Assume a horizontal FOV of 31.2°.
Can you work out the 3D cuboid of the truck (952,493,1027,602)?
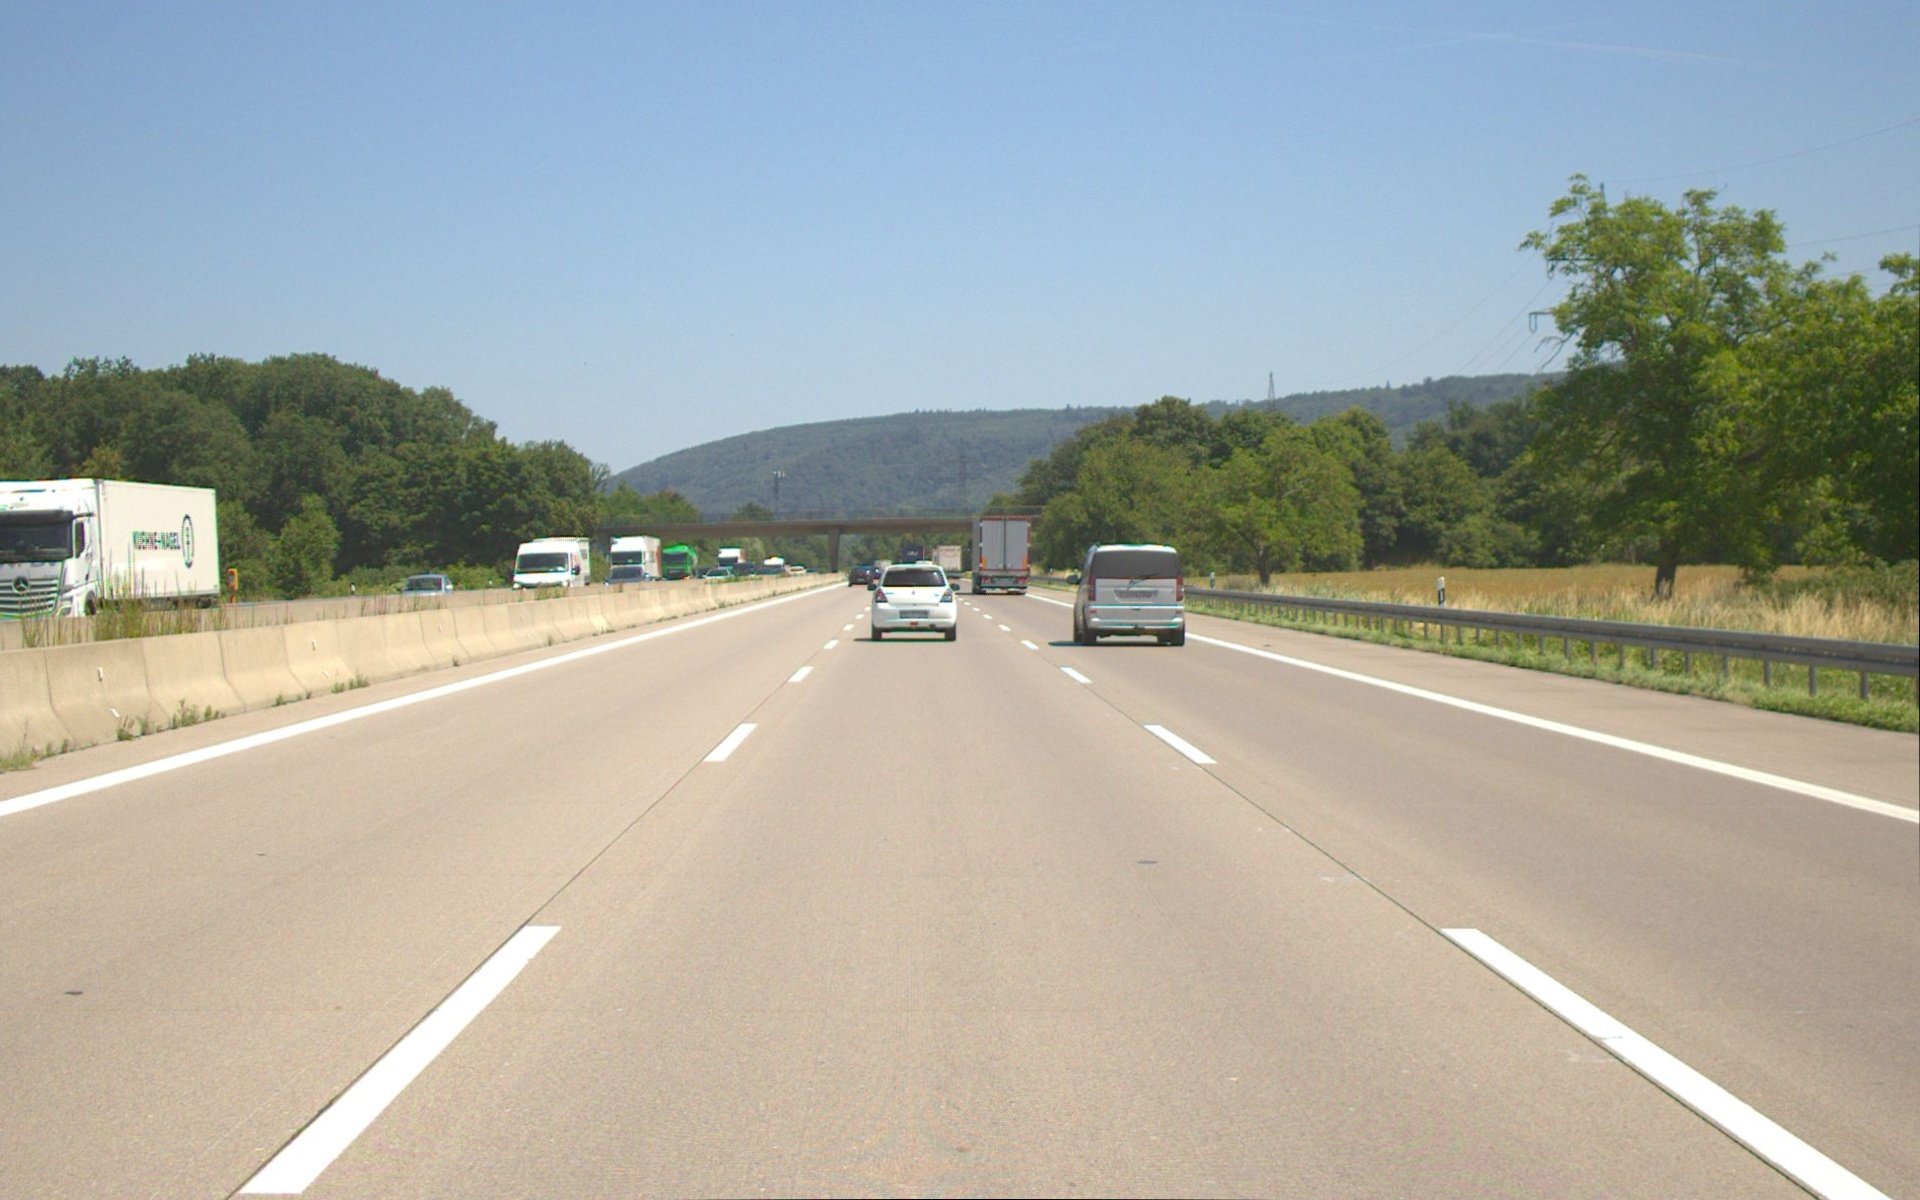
[{"bbox_3d":[1.563,-2.871,187.937,3.720,5.791,7.054,1,1,-2],"label":"truck"}]

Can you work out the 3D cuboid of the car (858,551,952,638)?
[{"bbox_3d":[-1.101,-0.134,68.555,1.819,1.656,4.000,0,1,-1],"label":"car"}]

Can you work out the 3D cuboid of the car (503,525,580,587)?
[{"bbox_3d":[-14.135,-1.494,116.409,2.068,2.007,5.981,1,1,-2],"label":"car"}]

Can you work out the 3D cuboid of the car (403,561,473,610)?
[{"bbox_3d":[-18.427,-0.528,121.552,1.819,1.656,4.000,0,1,1],"label":"car"}]

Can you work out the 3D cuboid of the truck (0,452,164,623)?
[{"bbox_3d":[-21.717,-1.515,83.028,3.161,3.895,8.373,1,1,-1],"label":"truck"}]

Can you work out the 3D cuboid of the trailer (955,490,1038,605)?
[{"bbox_3d":[1.849,-2.749,180.735,3.720,5.791,12.163,1,1,-2],"label":"trailer"}]

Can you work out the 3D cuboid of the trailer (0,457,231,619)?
[{"bbox_3d":[-21.824,-1.592,88.930,3.161,3.825,14.032,1,1,-1],"label":"trailer"}]

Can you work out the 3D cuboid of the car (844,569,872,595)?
[{"bbox_3d":[-7.239,-1.285,243.474,1.928,1.787,4.000,1,1,-1],"label":"car"}]

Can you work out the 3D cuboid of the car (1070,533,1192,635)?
[{"bbox_3d":[3.196,-0.328,65.012,1.993,1.842,4.000,1,1,-1],"label":"car"}]
